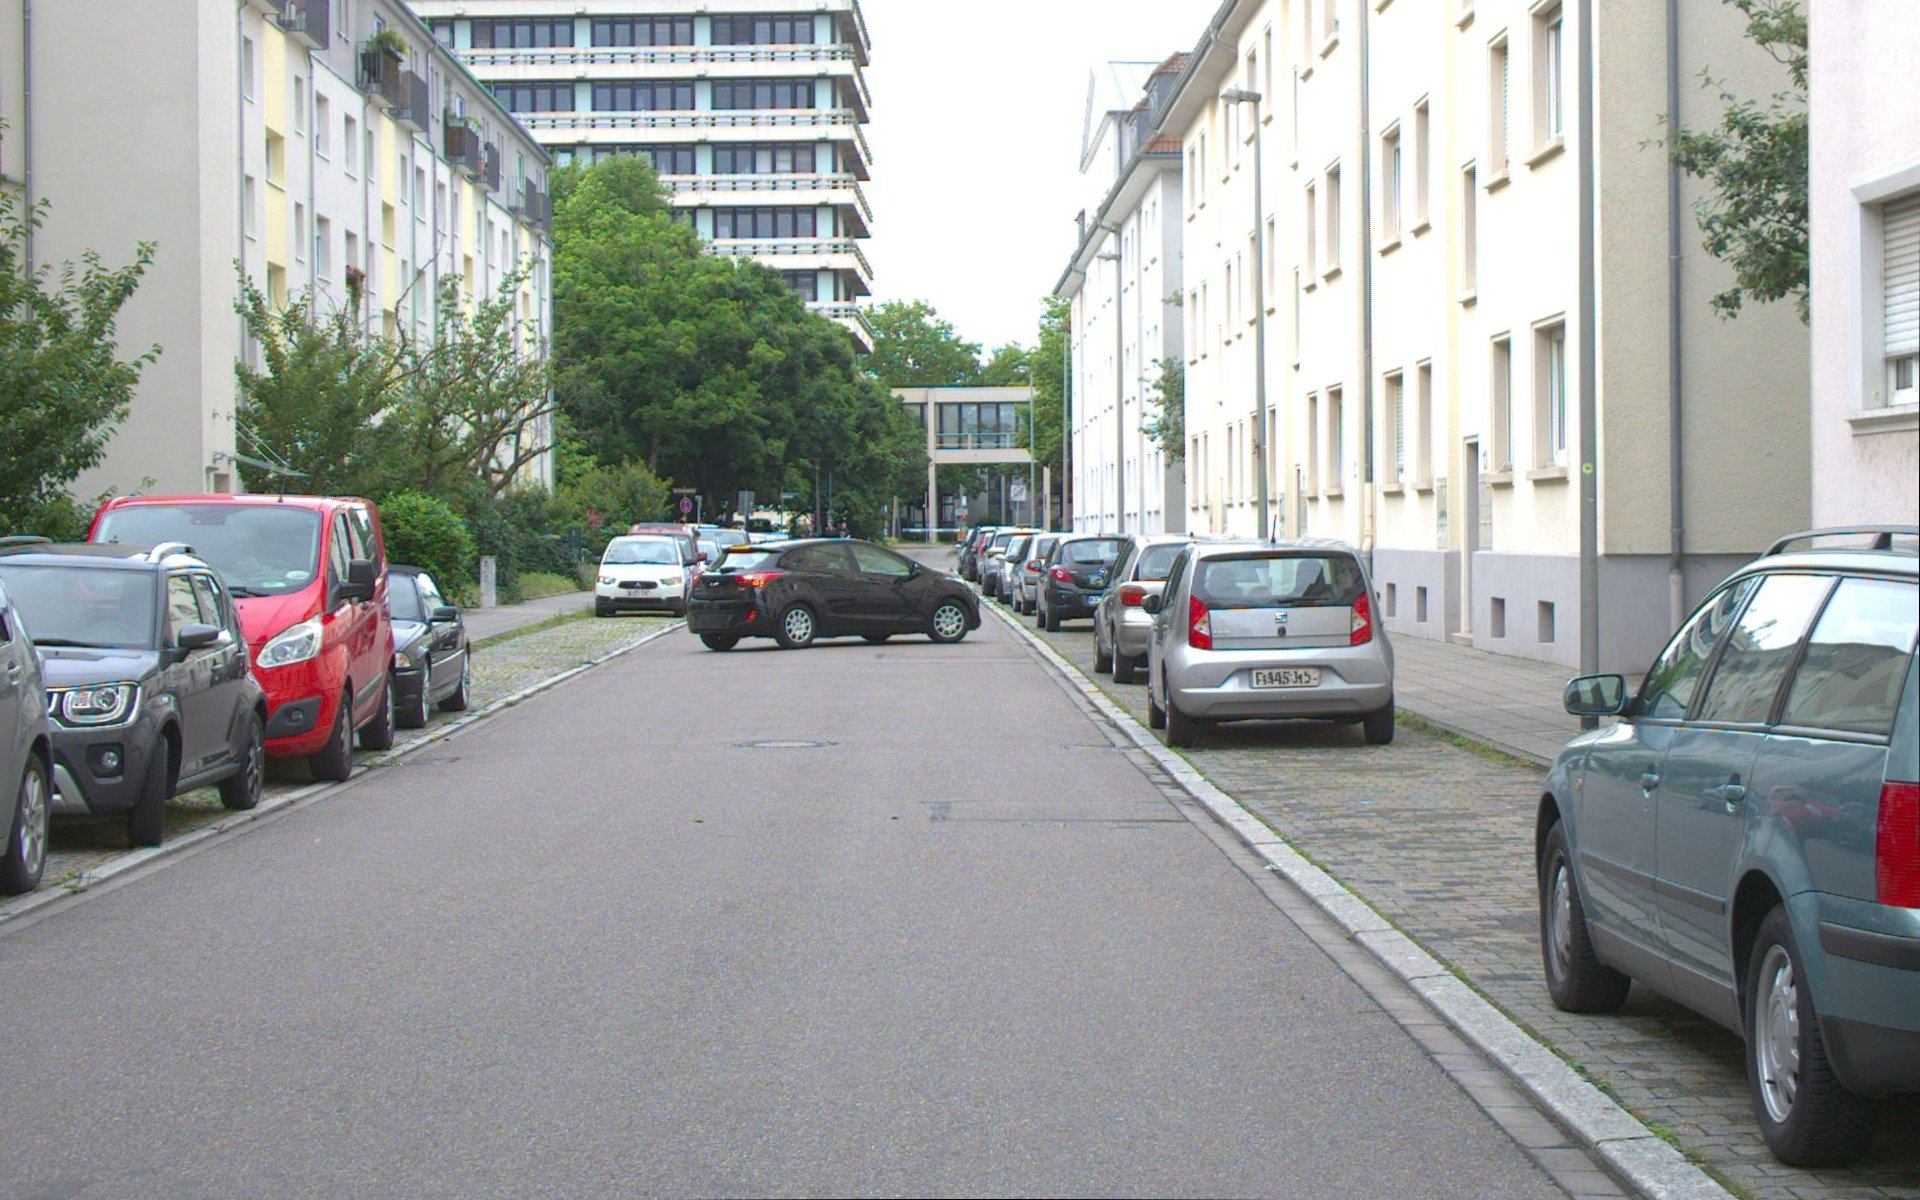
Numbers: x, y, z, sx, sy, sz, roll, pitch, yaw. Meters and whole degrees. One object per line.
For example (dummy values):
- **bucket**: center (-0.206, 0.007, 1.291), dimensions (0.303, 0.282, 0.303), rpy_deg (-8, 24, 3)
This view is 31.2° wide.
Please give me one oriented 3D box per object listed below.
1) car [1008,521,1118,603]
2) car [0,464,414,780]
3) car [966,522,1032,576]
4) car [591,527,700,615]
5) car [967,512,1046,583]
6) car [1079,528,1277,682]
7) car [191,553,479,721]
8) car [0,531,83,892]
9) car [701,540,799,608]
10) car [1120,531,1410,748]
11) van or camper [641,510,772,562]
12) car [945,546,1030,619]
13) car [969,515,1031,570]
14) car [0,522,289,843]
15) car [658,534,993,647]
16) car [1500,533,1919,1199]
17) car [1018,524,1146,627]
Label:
- **car**: center (1.854, -0.720, 63.052), dimensions (1.848, 1.445, 3.833), rpy_deg (-1, 1, -1)
- **car**: center (-5.261, 0.095, 24.453), dimensions (2.151, 1.947, 4.922), rpy_deg (2, 1, -3)
- **car**: center (1.099, -1.469, 98.513), dimensions (1.820, 1.498, 4.091), rpy_deg (-1, 1, 0)
- **car**: center (-5.945, -0.567, 65.248), dimensions (1.720, 1.564, 3.870), rpy_deg (2, 1, -1)
- **car**: center (1.083, -1.274, 82.270), dimensions (1.820, 1.636, 4.091), rpy_deg (-1, 1, 0)
- **car**: center (2.218, 0.011, 35.884), dimensions (1.725, 1.512, 4.061), rpy_deg (0, 1, -1)
- **car**: center (-5.456, 0.279, 30.514), dimensions (1.870, 1.319, 4.362), rpy_deg (2, 1, -2)
- **car**: center (-5.025, 0.475, 14.053), dimensions (1.834, 1.564, 4.862), rpy_deg (2, 1, -3)
- **car**: center (-4.634, -0.600, 76.470), dimensions (1.845, 1.446, 4.501), rpy_deg (1, 1, 0)
- **car**: center (2.199, 0.231, 25.740), dimensions (1.725, 1.487, 4.061), rpy_deg (0, 1, -1)
- **van or camper**: center (-10.173, -2.585, 137.749), dimensions (5.171, 2.007, 2.000), rpy_deg (-1, 1, -4)
- **car**: center (0.561, -0.404, 73.405), dimensions (1.725, 1.471, 4.505), rpy_deg (1, 1, 0)
- **car**: center (1.178, -1.737, 103.363), dimensions (1.820, 1.597, 4.091), rpy_deg (-1, 1, 0)
- **car**: center (-5.003, 0.368, 19.210), dimensions (1.720, 1.564, 4.054), rpy_deg (2, 1, -1)
- **car**: center (-1.759, -0.158, 45.836), dimensions (4.221, 1.428, 1.908), rpy_deg (-1, 1, -42)
- **car**: center (2.661, 0.562, 9.074), dimensions (1.725, 1.464, 4.265), rpy_deg (0, 1, -1)
- **car**: center (1.832, -0.399, 52.686), dimensions (1.725, 1.512, 4.061), rpy_deg (0, 1, -1)
